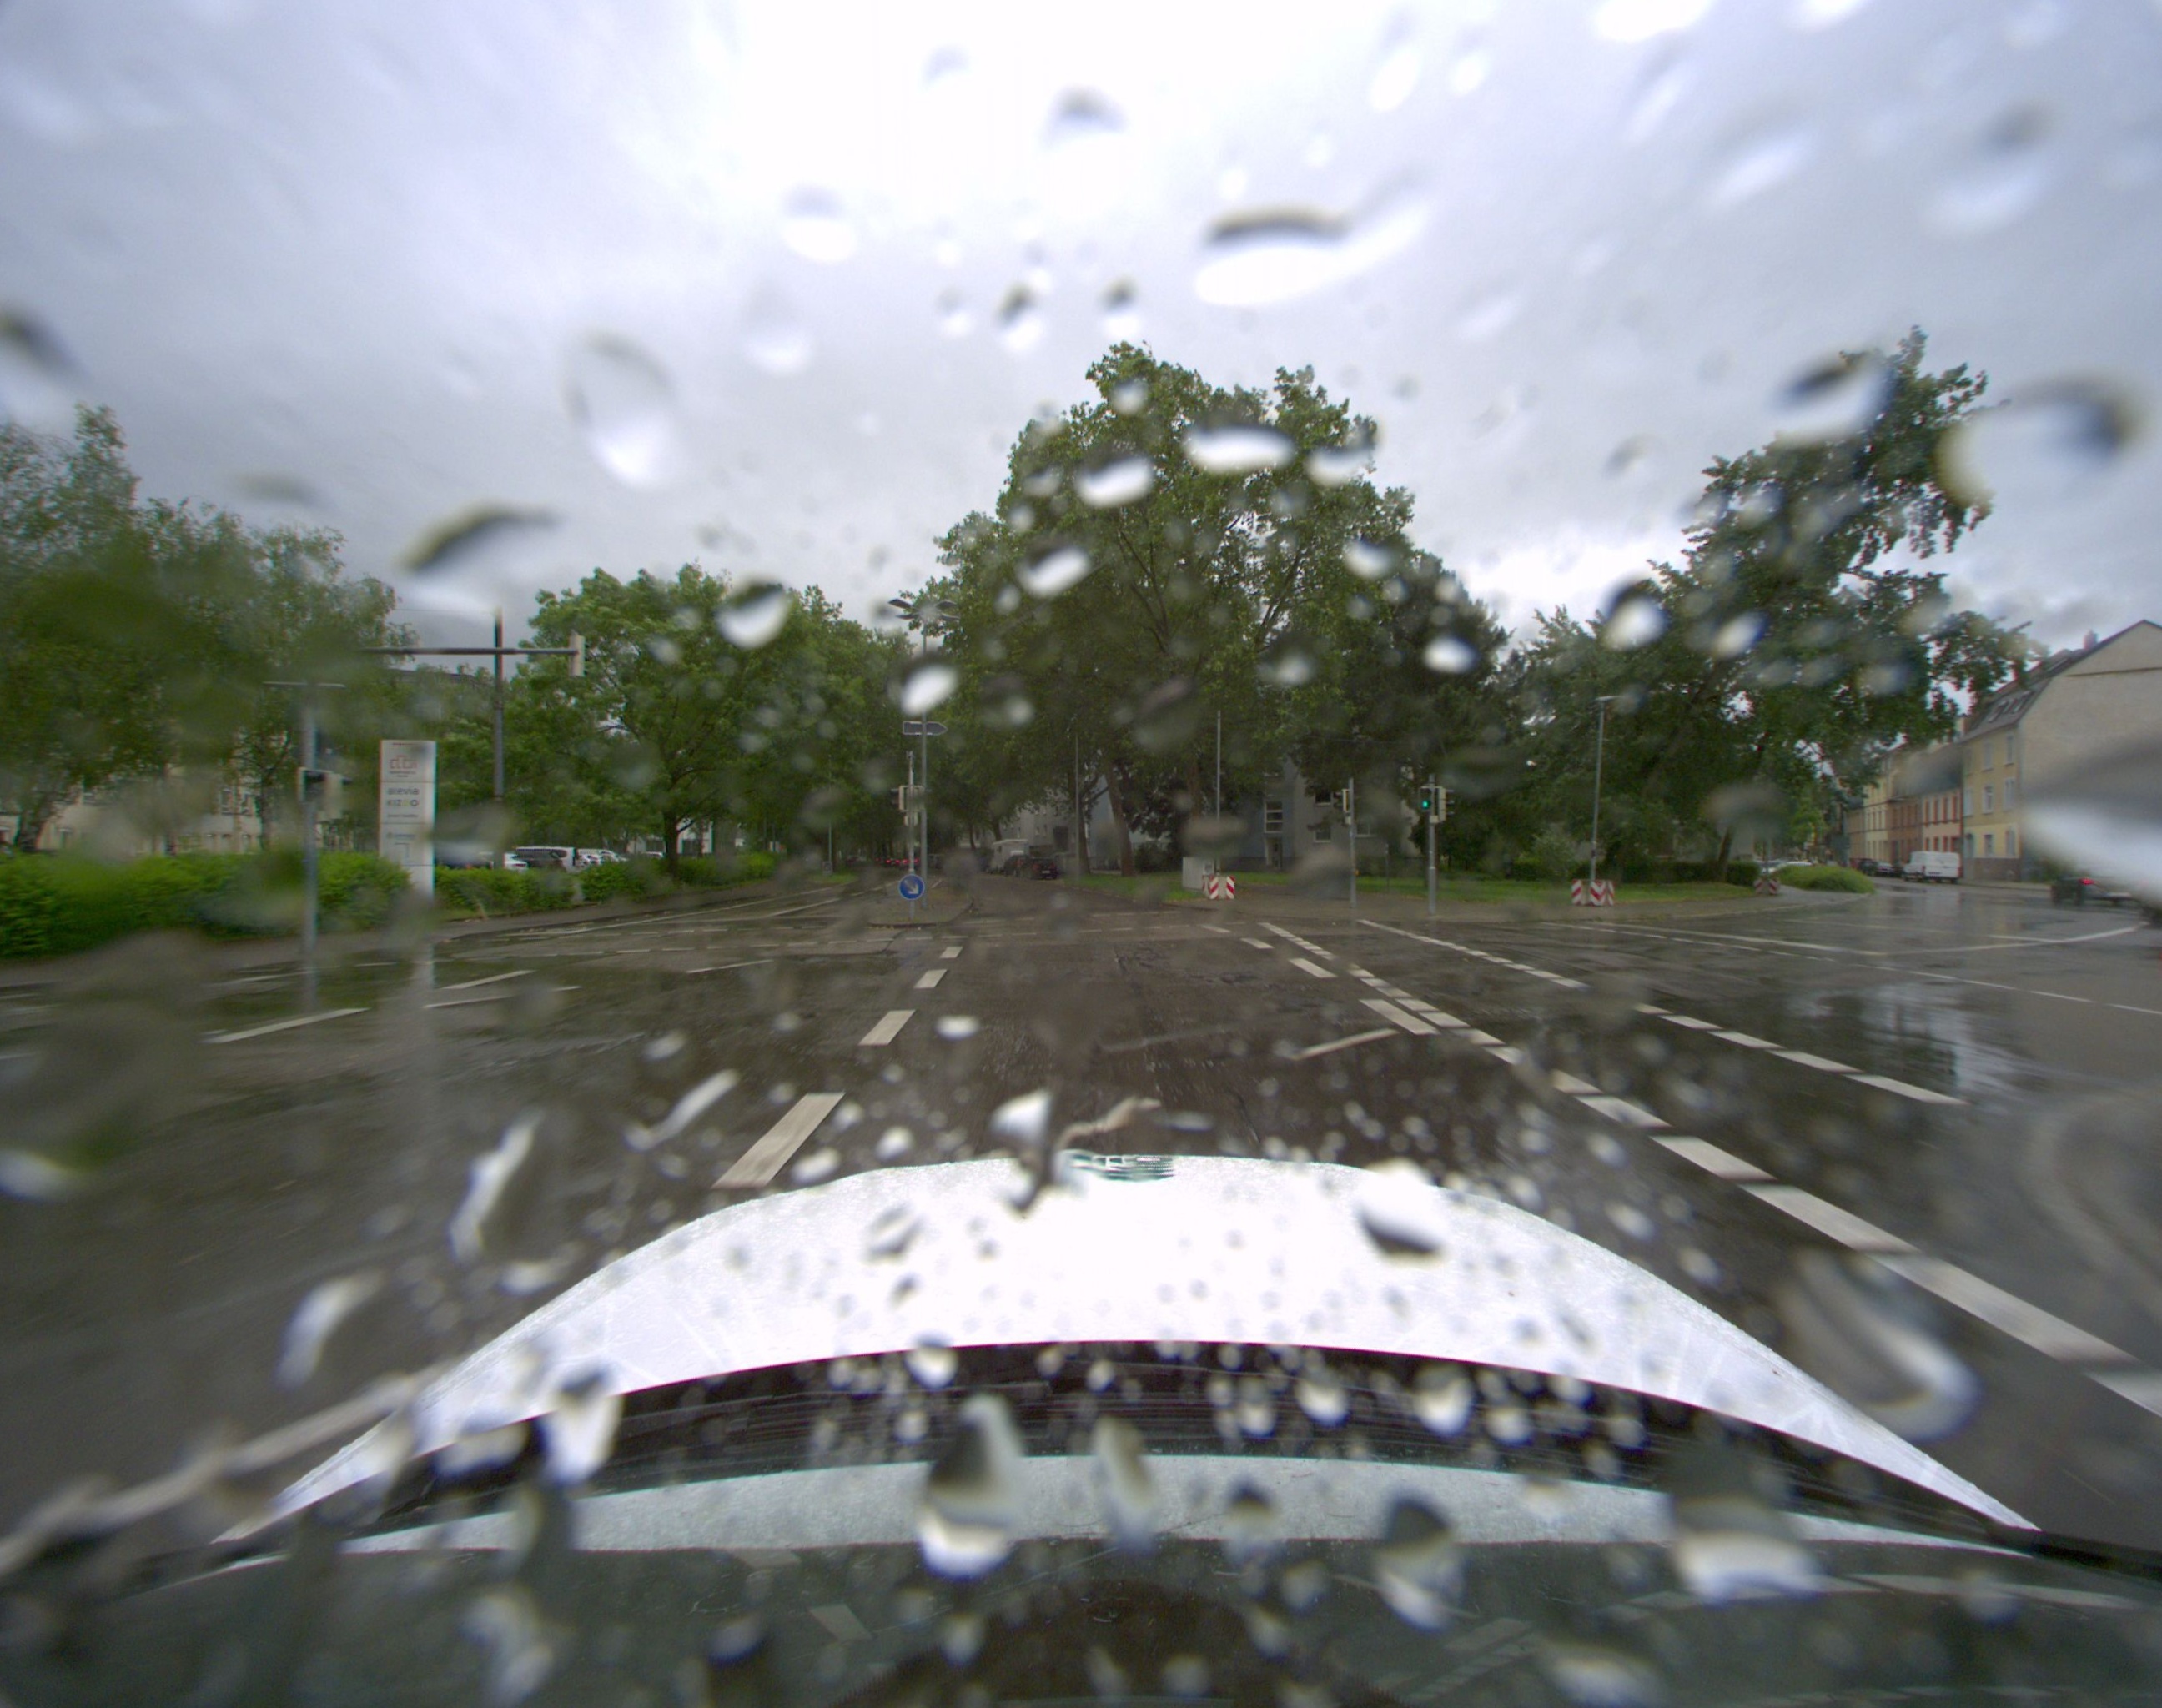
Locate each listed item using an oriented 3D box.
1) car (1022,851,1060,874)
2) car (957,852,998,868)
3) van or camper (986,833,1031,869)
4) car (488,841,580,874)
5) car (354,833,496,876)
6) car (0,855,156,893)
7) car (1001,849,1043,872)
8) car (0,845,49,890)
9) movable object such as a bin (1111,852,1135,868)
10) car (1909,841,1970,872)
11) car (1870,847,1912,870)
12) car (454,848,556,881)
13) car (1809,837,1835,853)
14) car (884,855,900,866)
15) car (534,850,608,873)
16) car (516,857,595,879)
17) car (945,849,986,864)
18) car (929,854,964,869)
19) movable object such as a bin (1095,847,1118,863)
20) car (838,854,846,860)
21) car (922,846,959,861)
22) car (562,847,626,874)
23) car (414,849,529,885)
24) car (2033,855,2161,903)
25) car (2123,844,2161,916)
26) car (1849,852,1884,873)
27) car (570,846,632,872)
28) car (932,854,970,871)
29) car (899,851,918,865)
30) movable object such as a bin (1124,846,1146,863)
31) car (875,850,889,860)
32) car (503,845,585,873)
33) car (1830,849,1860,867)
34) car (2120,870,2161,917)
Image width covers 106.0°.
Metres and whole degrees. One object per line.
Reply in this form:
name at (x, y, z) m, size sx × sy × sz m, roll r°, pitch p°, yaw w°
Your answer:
car at (-2.679, 0.546, 53.989) m, size 1.552 × 1.390 × 4.126 m, roll 1°, pitch 0°, yaw -16°
car at (-10.349, 0.582, 81.502) m, size 1.780 × 1.601 × 3.792 m, roll 1°, pitch 0°, yaw 41°
van or camper at (-6.019, -0.245, 66.815) m, size 2.325 × 2.807 × 6.824 m, roll 0°, pitch 0°, yaw -17°
car at (-31.046, 0.206, 46.359) m, size 4.003 × 1.833 × 1.841 m, roll 1°, pitch 0°, yaw -23°
car at (-25.846, 0.036, 32.239) m, size 3.994 × 1.611 × 1.643 m, roll 1°, pitch 0°, yaw -16°
car at (-44.095, 0.844, 35.762) m, size 4.002 × 1.559 × 2.149 m, roll -1°, pitch 1°, yaw -21°
car at (-4.311, 0.523, 59.189) m, size 1.922 × 1.620 × 4.423 m, roll 1°, pitch -1°, yaw -20°
car at (-42.717, 0.516, 30.833) m, size 4.002 × 1.686 × 1.986 m, roll -1°, pitch 1°, yaw -21°
movable object such as a bin at (3.659, 0.516, 70.996) m, size 1.222 × 1.432 × 1.842 m, roll 1°, pitch 0°, yaw -37°
car at (63.780, 0.204, 60.612) m, size 2.327 × 2.208 × 4.642 m, roll 1°, pitch 0°, yaw 37°
car at (72.503, 0.379, 72.961) m, size 2.096 × 2.013 × 4.025 m, roll 1°, pitch 0°, yaw 36°
car at (-30.157, 0.548, 42.761) m, size 3.999 × 1.638 × 1.698 m, roll 1°, pitch 0°, yaw -19°
car at (96.011, -1.224, 105.556) m, size 1.974 × 2.013 × 4.026 m, roll 0°, pitch 0°, yaw 36°
car at (-26.253, 0.872, 113.122) m, size 1.711 × 1.411 × 3.621 m, roll -2°, pitch 1°, yaw -19°
car at (-35.781, 0.505, 57.236) m, size 3.996 × 1.550 × 1.875 m, roll 0°, pitch 0°, yaw -17°
car at (-34.589, 0.903, 53.716) m, size 3.996 × 1.374 × 1.875 m, roll -1°, pitch 0°, yaw -17°
car at (-12.643, 0.275, 89.072) m, size 2.010 × 1.601 × 4.024 m, roll 1°, pitch 0°, yaw 44°
car at (-16.731, 0.933, 101.145) m, size 3.998 × 1.727 × 1.790 m, roll 1°, pitch 0°, yaw -19°
movable object such as a bin at (2.252, 0.093, 72.387) m, size 1.222 × 1.432 × 1.842 m, roll 1°, pitch 0°, yaw -37°
car at (-59.113, 0.798, 201.694) m, size 1.711 × 1.411 × 3.621 m, roll -2°, pitch 1°, yaw -19°
car at (-17.978, -0.056, 104.254) m, size 4.351 × 1.762 × 1.807 m, roll 1°, pitch 0°, yaw -19°
car at (-38.652, 0.508, 64.752) m, size 3.998 × 2.013 × 1.988 m, roll -1°, pitch 1°, yaw -19°
car at (-29.049, 0.592, 38.982) m, size 4.004 × 1.638 × 1.985 m, roll 1°, pitch 0°, yaw -23°
car at (37.487, 0.872, 30.089) m, size 1.974 × 1.602 × 4.114 m, roll 1°, pitch 0°, yaw 34°
car at (28.297, 0.661, 20.669) m, size 4.328 × 1.744 × 1.976 m, roll 0°, pitch 0°, yaw -42°
car at (78.621, 0.823, 81.587) m, size 1.974 × 2.013 × 4.025 m, roll 1°, pitch 0°, yaw 36°
car at (-39.497, 0.382, 67.108) m, size 3.998 × 2.013 × 1.988 m, roll -1°, pitch 1°, yaw -19°
car at (-14.712, 0.889, 92.259) m, size 1.814 × 1.697 × 3.892 m, roll 1°, pitch 3°, yaw 43°
car at (-19.723, 0.435, 93.096) m, size 1.711 × 1.411 × 3.621 m, roll -2°, pitch 1°, yaw -19°
movable object such as a bin at (4.643, 0.064, 69.618) m, size 1.327 × 1.432 × 1.355 m, roll 1°, pitch 0°, yaw -37°
car at (-31.819, 0.165, 130.287) m, size 1.711 × 1.411 × 3.621 m, roll -2°, pitch 1°, yaw -19°
car at (-32.062, 0.294, 48.728) m, size 3.821 × 1.599 × 1.706 m, roll 1°, pitch 0°, yaw -22°
car at (87.300, 0.450, 93.096) m, size 1.974 × 2.013 × 4.025 m, roll 1°, pitch 0°, yaw 36°
car at (43.985, 1.581, 32.566) m, size 1.858 × 1.809 × 4.114 m, roll 1°, pitch 0°, yaw 34°
